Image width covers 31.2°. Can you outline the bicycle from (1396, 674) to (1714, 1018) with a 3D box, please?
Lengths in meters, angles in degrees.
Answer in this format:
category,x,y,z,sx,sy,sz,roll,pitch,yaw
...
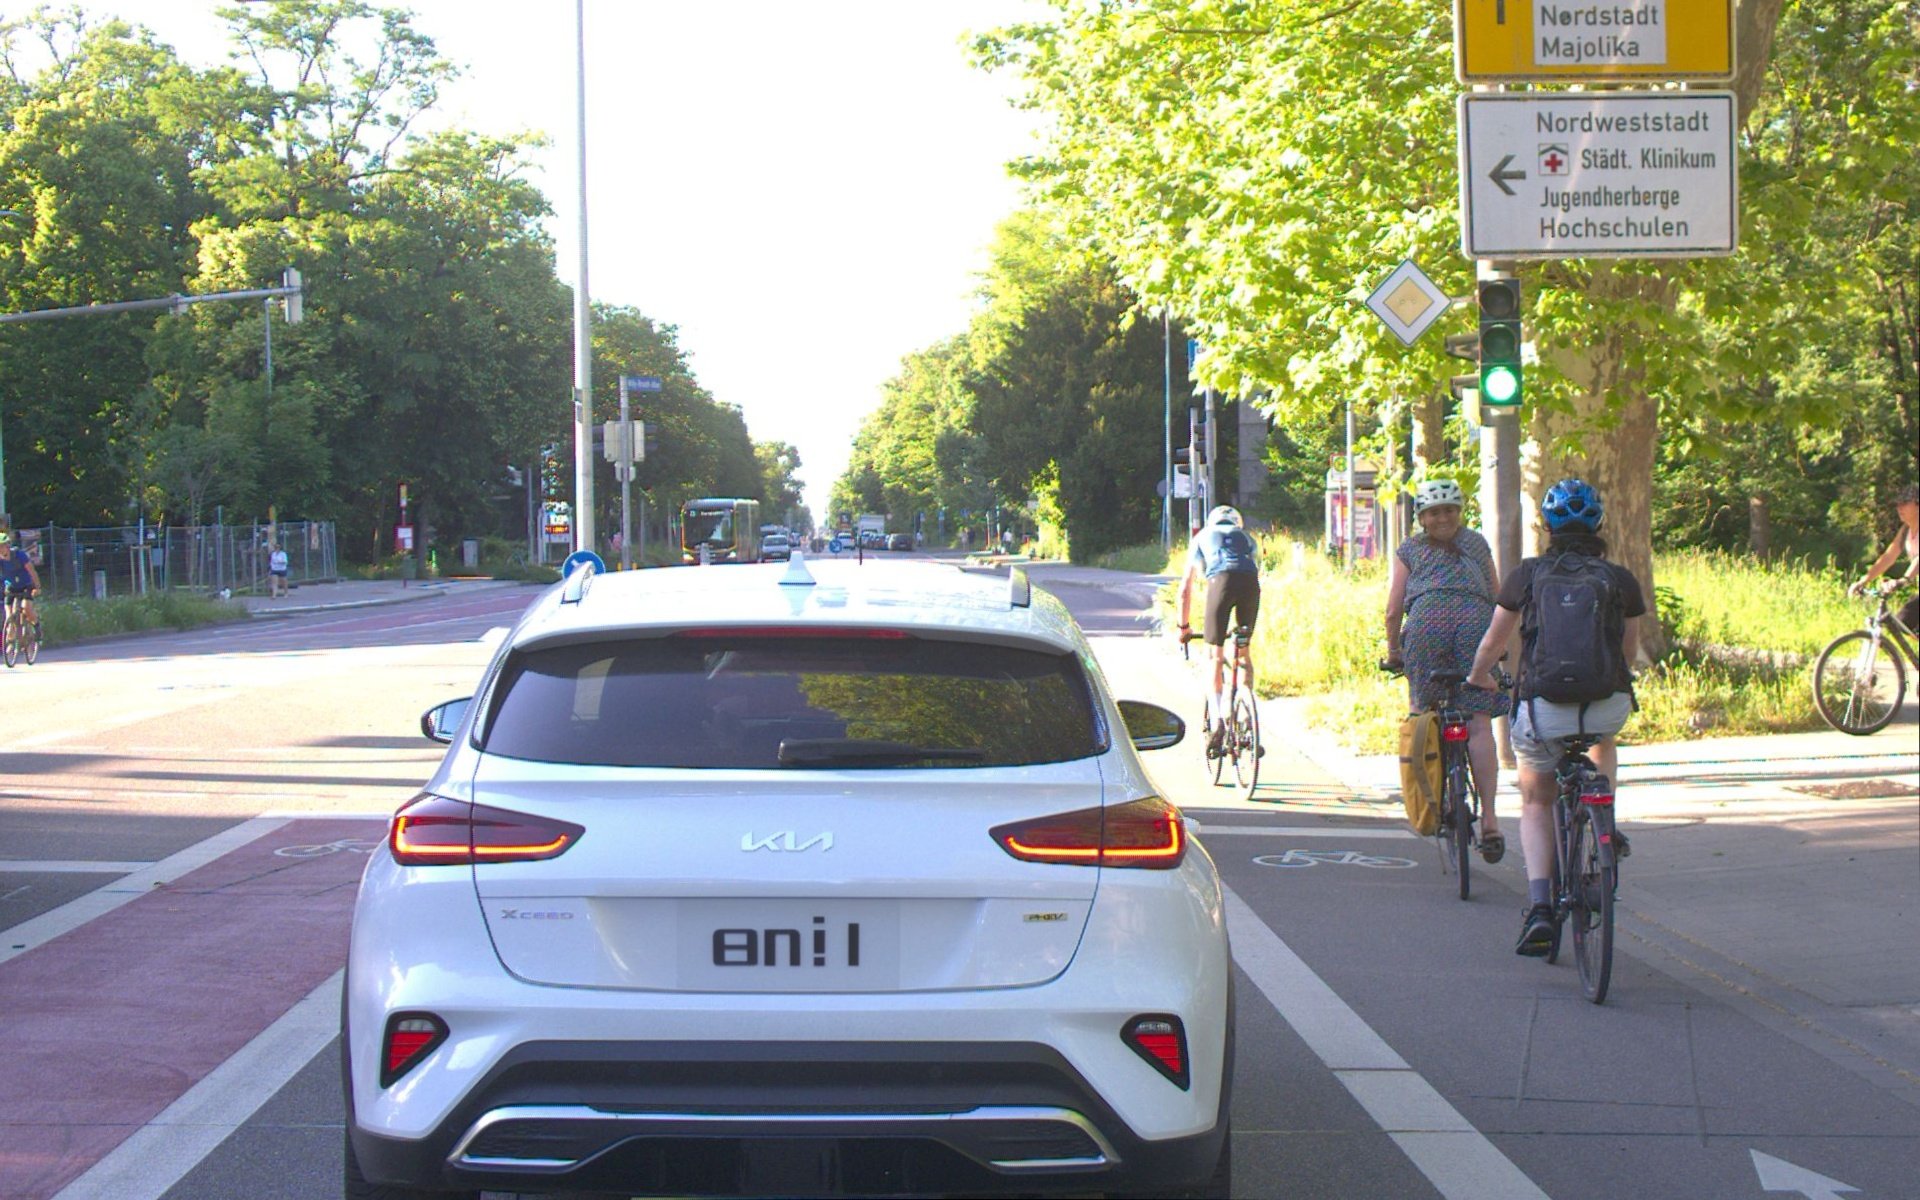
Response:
category,x,y,z,sx,sy,sz,roll,pitch,yaw
bicycle,2.029,0.807,12.003,0.668,1.006,2.081,1,1,-2

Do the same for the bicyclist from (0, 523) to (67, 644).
category,x,y,z,sx,sy,sz,roll,pitch,yaw
bicyclist,-12.686,-0.226,46.396,0.875,1.603,1.188,-2,1,1

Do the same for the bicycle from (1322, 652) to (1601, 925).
category,x,y,z,sx,sy,sz,roll,pitch,yaw
bicycle,2.180,0.789,15.304,0.758,1.009,2.570,1,1,-2

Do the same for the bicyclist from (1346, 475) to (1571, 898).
category,x,y,z,sx,sy,sz,roll,pitch,yaw
bicyclist,2.191,0.356,15.232,0.753,1.789,1.165,1,1,-2

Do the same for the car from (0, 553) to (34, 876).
category,x,y,z,sx,sy,sz,roll,pitch,yaw
car,-5.023,0.553,13.358,1.704,1.400,4.265,-1,1,-1

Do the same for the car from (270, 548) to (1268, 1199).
category,x,y,z,sx,sy,sz,roll,pitch,yaw
car,-0.413,0.631,8.272,1.821,1.475,3.937,0,1,-2

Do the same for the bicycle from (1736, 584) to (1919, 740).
category,x,y,z,sx,sy,sz,roll,pitch,yaw
bicycle,6.426,0.397,23.385,2.092,0.972,0.751,-2,1,-13

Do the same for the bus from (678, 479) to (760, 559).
category,x,y,z,sx,sy,sz,roll,pitch,yaw
bus,-11.690,-3.928,167.932,3.741,3.660,13.242,-1,1,-3

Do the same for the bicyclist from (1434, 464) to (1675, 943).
category,x,y,z,sx,sy,sz,roll,pitch,yaw
bicyclist,2.039,0.340,11.859,0.665,1.596,0.721,1,1,-2

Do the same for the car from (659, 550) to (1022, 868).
category,x,y,z,sx,sy,sz,roll,pitch,yaw
car,-0.649,0.502,18.461,1.728,1.478,3.517,-1,1,-2

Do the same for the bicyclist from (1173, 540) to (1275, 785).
category,x,y,z,sx,sy,sz,roll,pitch,yaw
bicyclist,1.611,0.374,21.050,0.554,1.473,0.717,0,0,-1

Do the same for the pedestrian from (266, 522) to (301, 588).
category,x,y,z,sx,sy,sz,roll,pitch,yaw
pedestrian,-18.437,-1.226,93.719,0.785,1.779,0.751,0,0,0

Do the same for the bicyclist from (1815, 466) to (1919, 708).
category,x,y,z,sx,sy,sz,roll,pitch,yaw
bicyclist,6.395,-0.103,23.372,0.846,1.608,0.736,-2,1,-13

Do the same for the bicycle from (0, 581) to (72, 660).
category,x,y,z,sx,sy,sz,roll,pitch,yaw
bicycle,-12.673,0.262,46.330,0.663,0.985,2.504,-2,1,2

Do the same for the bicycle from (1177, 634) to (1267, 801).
category,x,y,z,sx,sy,sz,roll,pitch,yaw
bicycle,1.594,0.702,21.055,0.401,0.953,1.551,0,1,-1
